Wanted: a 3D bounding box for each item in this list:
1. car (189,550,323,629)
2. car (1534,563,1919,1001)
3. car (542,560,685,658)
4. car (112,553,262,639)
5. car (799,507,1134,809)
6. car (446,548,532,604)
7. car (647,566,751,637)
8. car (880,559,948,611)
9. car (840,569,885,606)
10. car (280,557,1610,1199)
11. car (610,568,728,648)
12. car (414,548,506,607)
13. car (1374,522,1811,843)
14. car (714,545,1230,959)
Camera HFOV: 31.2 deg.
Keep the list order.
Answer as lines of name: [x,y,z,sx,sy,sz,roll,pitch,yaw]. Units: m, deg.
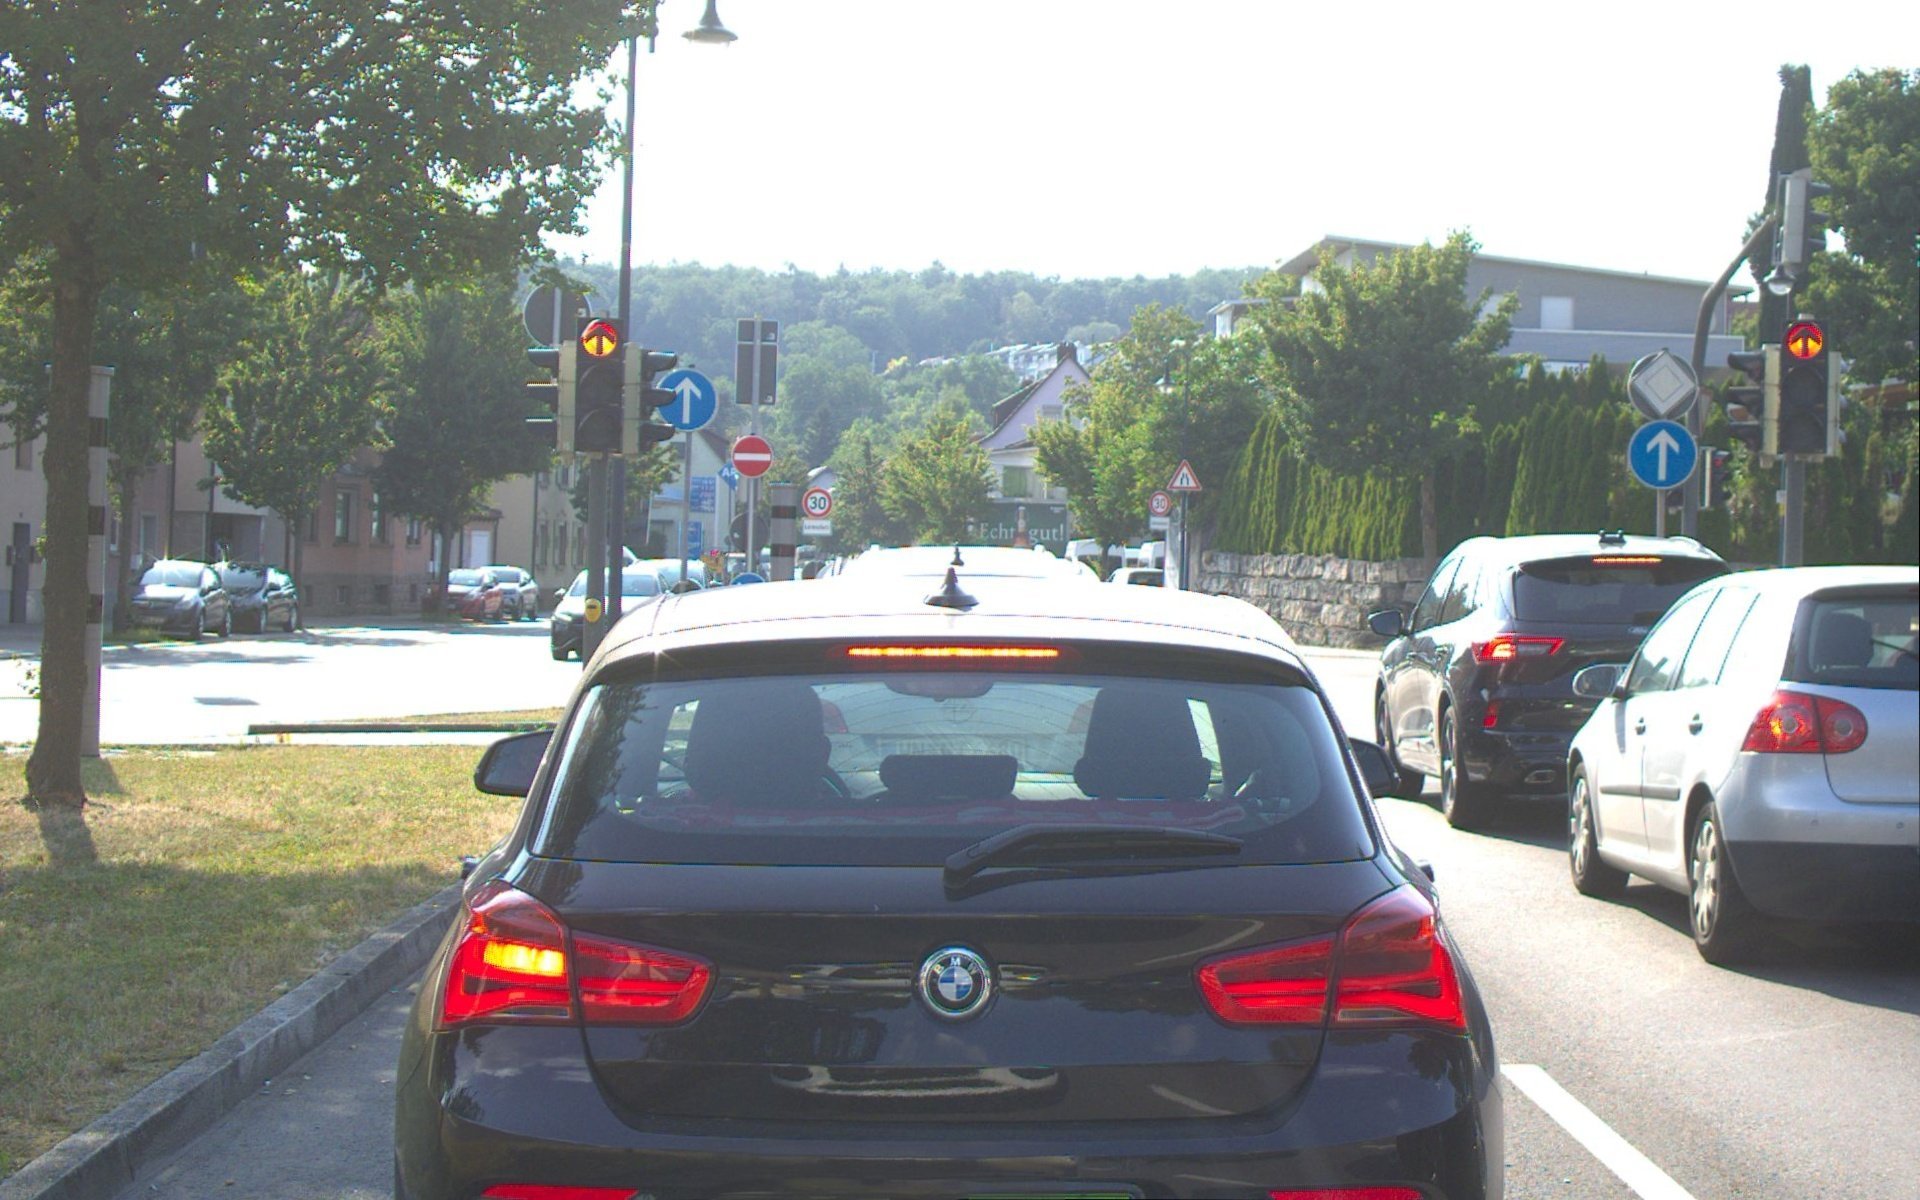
car: [-14.793,-0.238,72.431,1.924,1.590,4.000,1,1,1]
car: [3.532,0.594,13.702,1.816,1.441,4.347,1,1,1]
car: [-5.461,0.110,54.551,1.766,1.453,4.000,1,1,1]
car: [-14.963,-0.100,66.748,1.924,1.590,4.000,1,1,1]
car: [0.071,0.284,20.940,1.816,1.635,4.242,1,1,1]
car: [-14.057,-0.736,102.802,1.924,1.590,4.000,1,1,1]
car: [-5.220,0.008,69.222,1.693,1.348,4.000,1,1,1]
car: [-1.575,-0.536,116.513,1.890,1.696,4.525,-1,1,-6]
car: [-4.335,-0.558,152.877,1.924,1.590,4.000,1,1,-1]
car: [0.010,0.638,6.827,1.791,1.410,4.347,1,1,1]
car: [-5.235,0.124,62.155,1.693,1.348,4.000,1,1,1]
car: [-14.123,-0.647,97.297,1.924,1.590,4.000,1,1,1]
car: [3.574,0.397,20.186,1.816,1.660,4.347,1,1,1]
car: [0.076,0.506,14.316,1.816,1.446,4.242,1,1,1]
